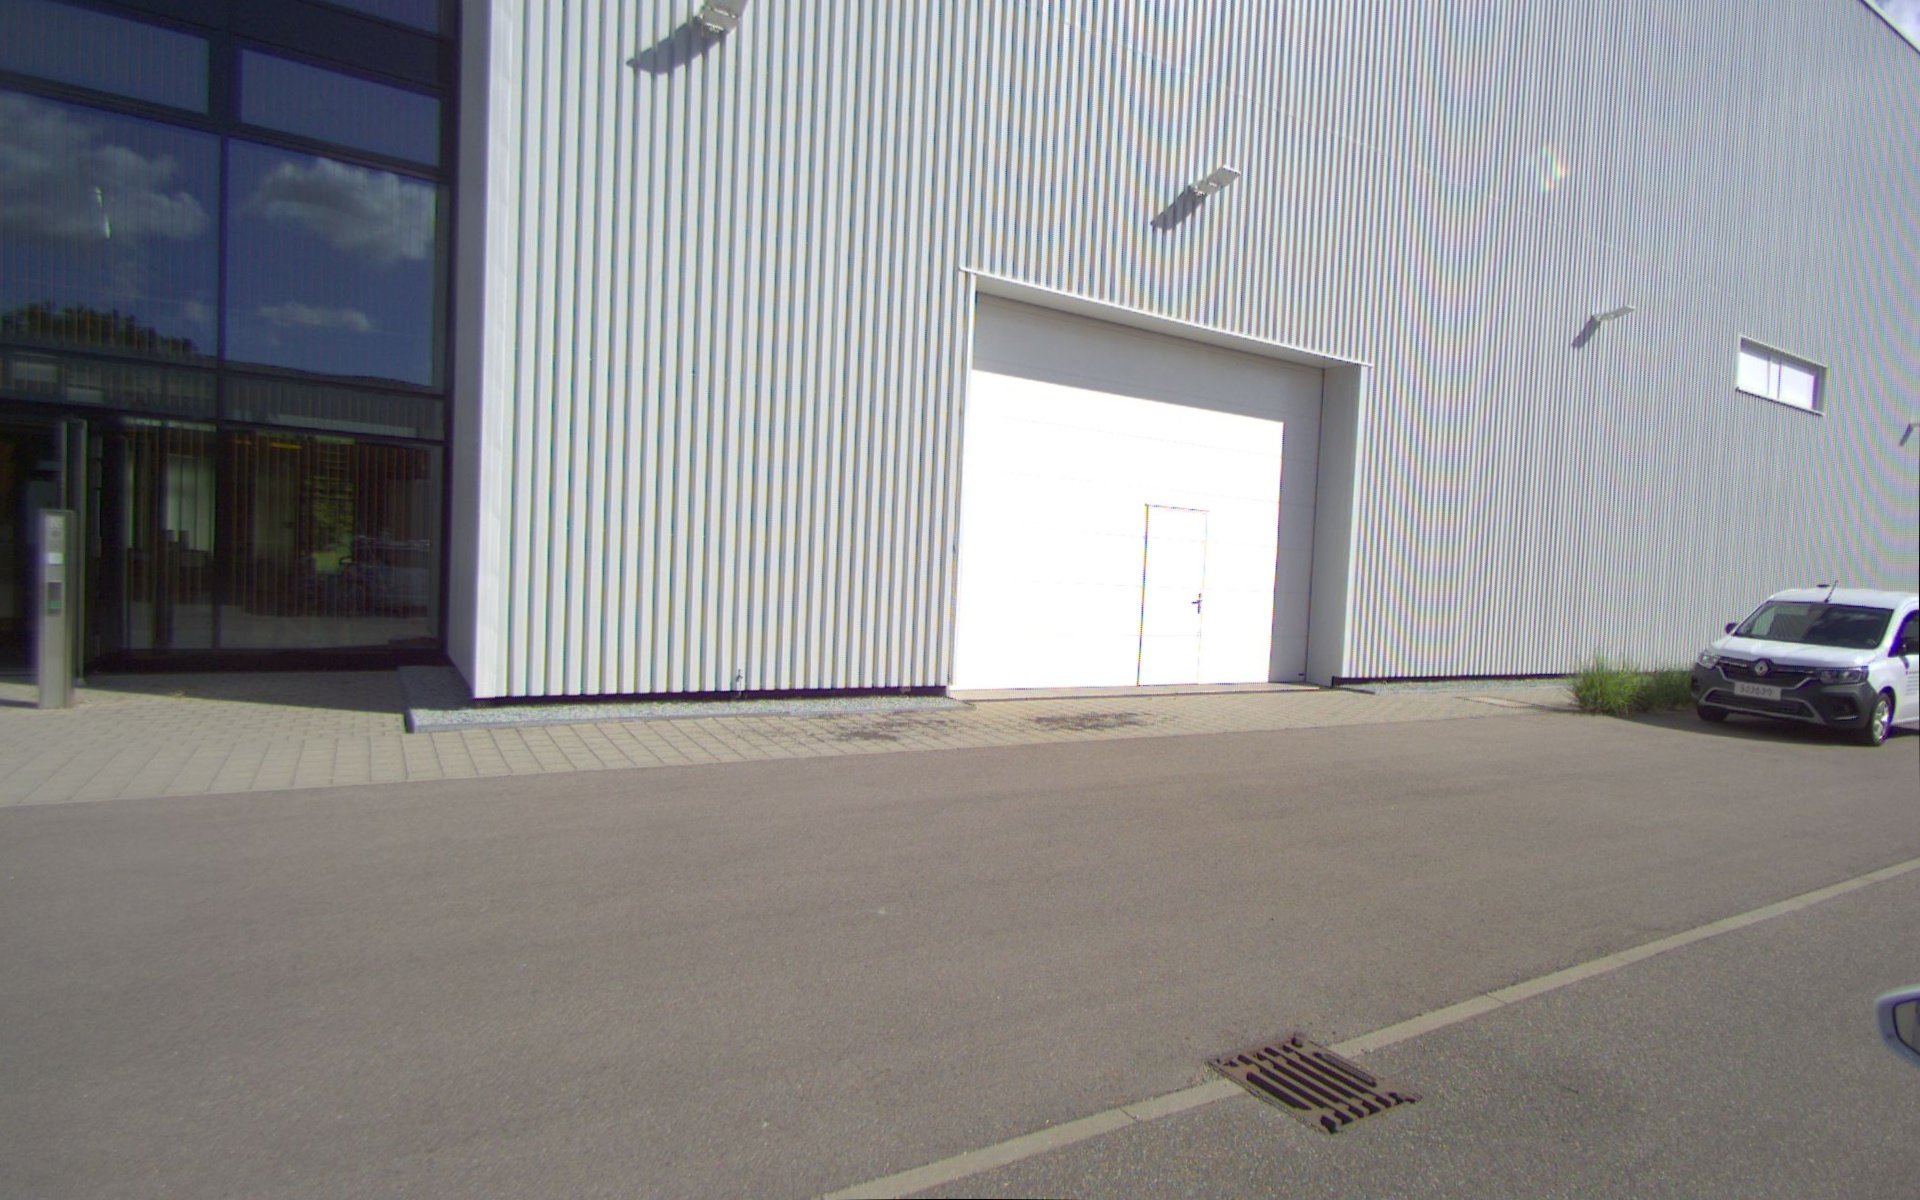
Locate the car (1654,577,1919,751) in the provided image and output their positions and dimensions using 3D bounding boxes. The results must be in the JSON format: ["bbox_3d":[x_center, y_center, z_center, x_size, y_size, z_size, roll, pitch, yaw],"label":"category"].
[{"bbox_3d":[11.228,0.741,13.020,4.546,1.814,1.918,2,3,-32],"label":"car"}]
